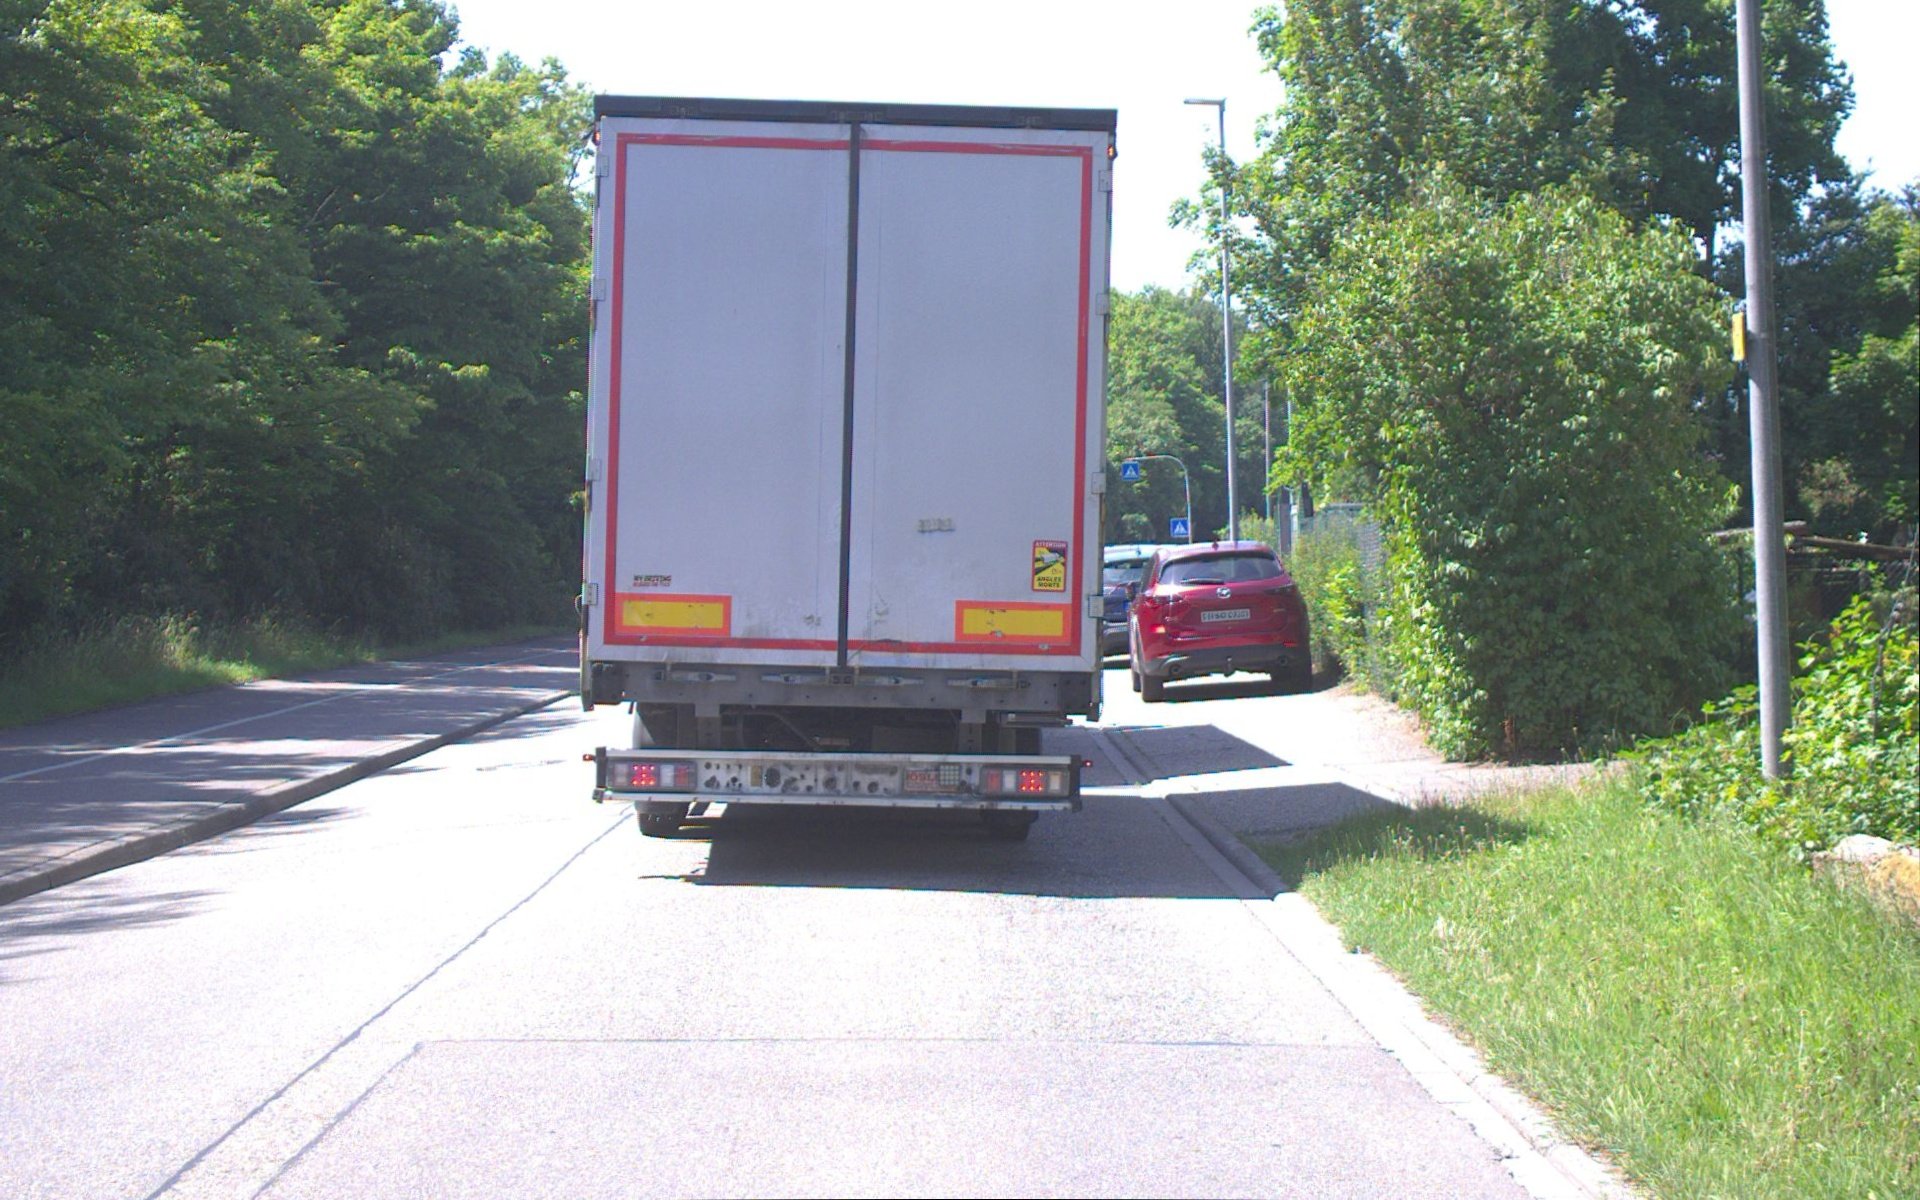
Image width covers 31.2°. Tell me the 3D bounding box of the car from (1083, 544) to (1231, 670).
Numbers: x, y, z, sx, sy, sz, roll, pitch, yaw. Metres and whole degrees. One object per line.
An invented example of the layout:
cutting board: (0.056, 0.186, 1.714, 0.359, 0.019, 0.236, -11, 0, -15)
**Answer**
car: (2.727, 0.059, 48.333, 1.789, 1.598, 4.130, -2, 1, 0)

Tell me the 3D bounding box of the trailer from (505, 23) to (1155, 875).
trailer: (-0.825, -0.810, 22.307, 3.112, 4.088, 11.538, 0, 1, -2)

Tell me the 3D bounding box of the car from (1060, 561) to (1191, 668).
car: (2.589, 0.191, 54.614, 1.789, 1.477, 4.665, -5, 1, 1)

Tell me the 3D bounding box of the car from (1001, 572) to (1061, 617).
car: (2.465, -0.196, 118.488, 1.781, 1.481, 3.999, -1, 1, 6)

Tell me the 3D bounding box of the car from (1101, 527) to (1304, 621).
car: (5.305, -0.571, 75.207, 4.258, 1.692, 1.853, -4, 0, 4)

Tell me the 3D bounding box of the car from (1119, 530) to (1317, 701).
car: (2.805, 0.128, 38.250, 1.789, 1.652, 4.452, -5, 1, 1)
